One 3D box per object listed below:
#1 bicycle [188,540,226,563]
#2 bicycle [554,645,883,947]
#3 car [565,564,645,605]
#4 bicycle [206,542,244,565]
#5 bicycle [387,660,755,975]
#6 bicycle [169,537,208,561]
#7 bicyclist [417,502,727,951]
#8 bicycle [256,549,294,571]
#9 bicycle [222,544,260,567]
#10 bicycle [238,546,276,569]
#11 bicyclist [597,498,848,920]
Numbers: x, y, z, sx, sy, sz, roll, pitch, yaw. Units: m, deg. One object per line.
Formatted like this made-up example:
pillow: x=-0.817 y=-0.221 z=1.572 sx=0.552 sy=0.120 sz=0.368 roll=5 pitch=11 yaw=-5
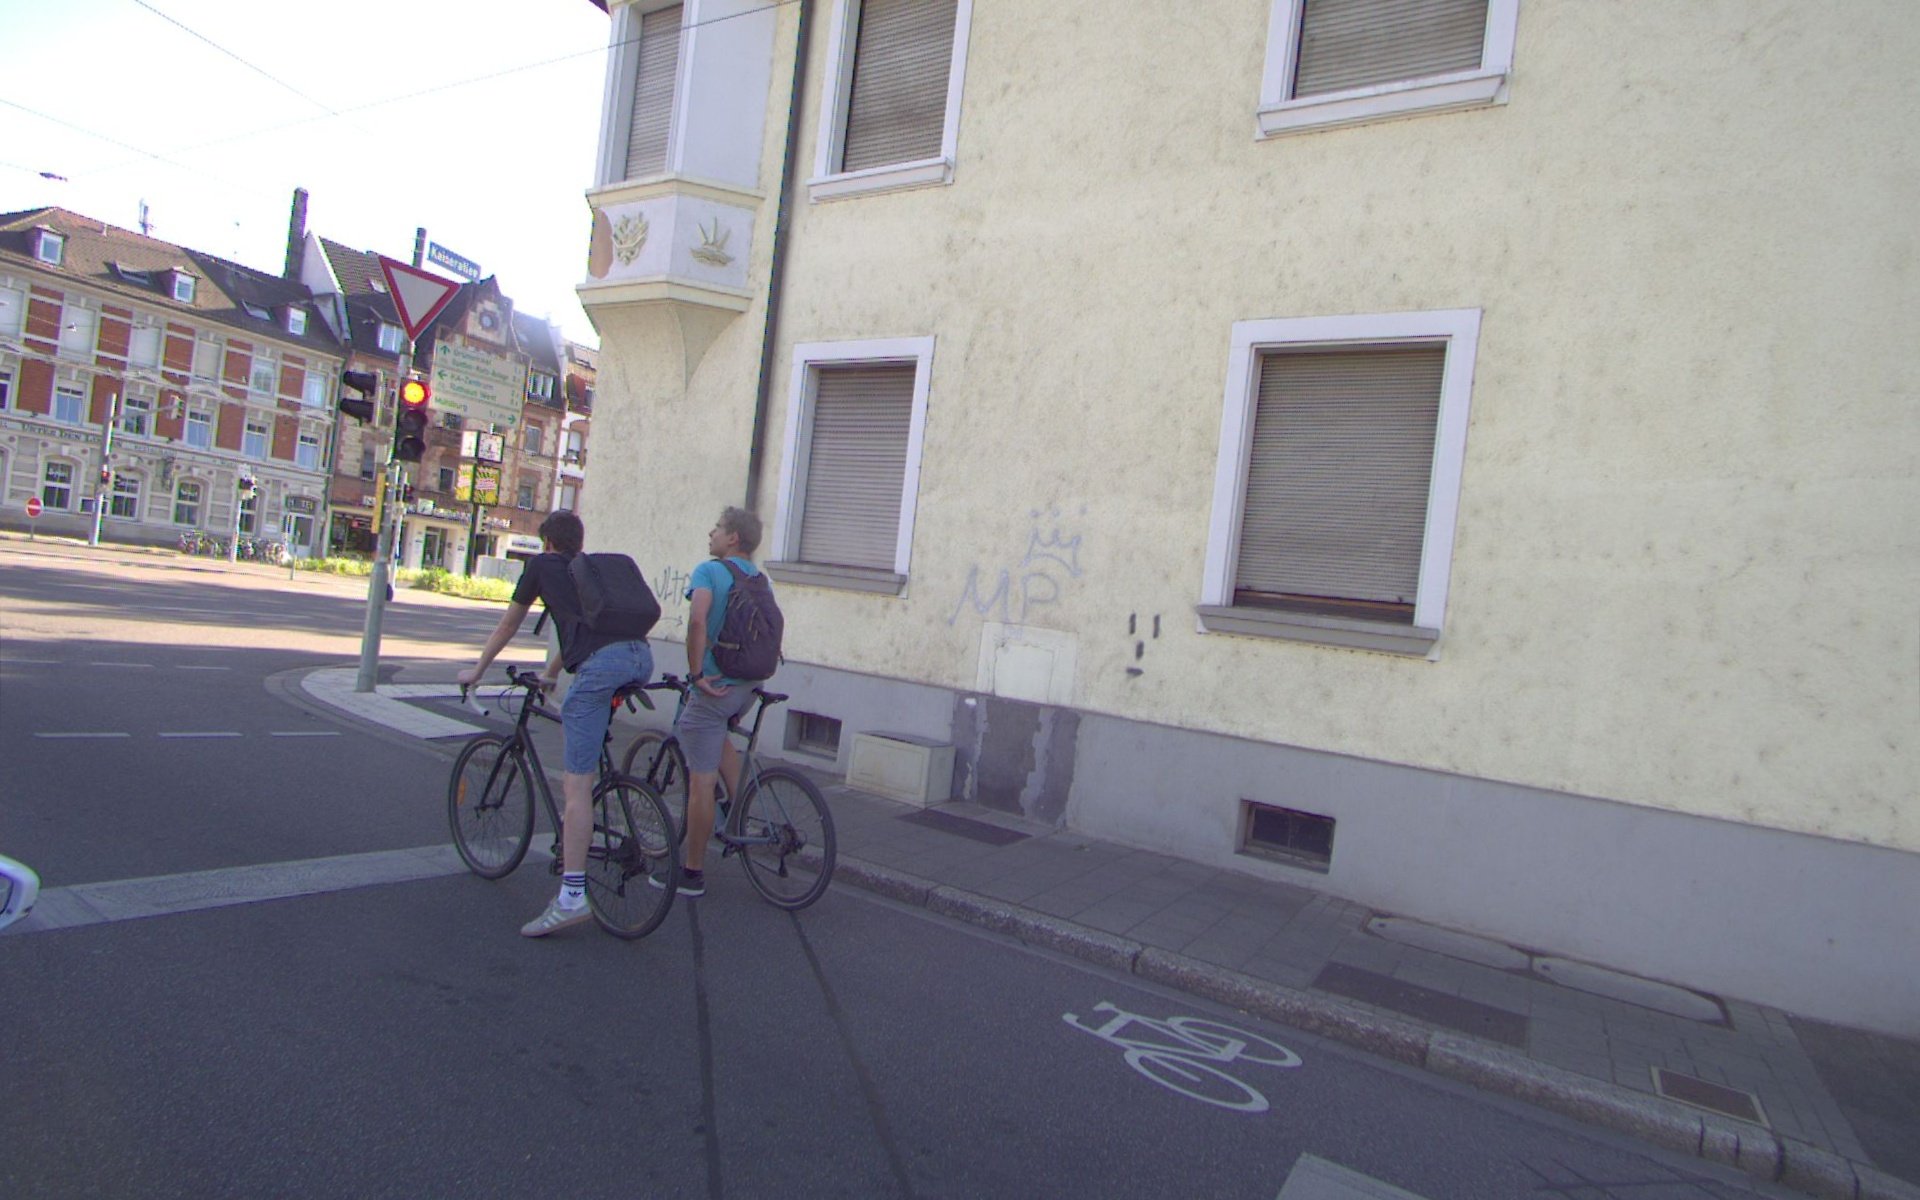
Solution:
bicycle: x=-34.552 y=-2.229 z=46.144 sx=2.125 sy=0.850 sz=0.659 roll=6 pitch=-2 yaw=33
bicycle: x=-1.317 y=0.936 z=5.277 sx=1.767 sy=1.104 sz=0.518 roll=9 pitch=1 yaw=35
car: x=-23.013 y=-0.995 z=65.324 sx=1.968 sy=2.038 sz=4.430 roll=7 pitch=-1 yaw=34
bicycle: x=-34.179 y=-2.155 z=46.765 sx=2.125 sy=0.850 sz=0.659 roll=6 pitch=-2 yaw=33
bicycle: x=-1.787 y=0.878 z=4.509 sx=1.721 sy=0.982 sz=0.519 roll=7 pitch=0 yaw=32
bicycle: x=-34.869 y=-2.297 z=45.477 sx=2.125 sy=0.850 sz=0.659 roll=6 pitch=-2 yaw=33
bicyclist: x=-1.739 y=0.494 z=4.488 sx=1.098 sy=1.722 sz=0.573 roll=7 pitch=0 yaw=32
bicycle: x=-33.102 y=-1.939 z=48.597 sx=2.125 sy=0.850 sz=0.659 roll=6 pitch=-2 yaw=33
bicycle: x=-33.845 y=-2.087 z=47.362 sx=2.125 sy=0.850 sz=0.659 roll=6 pitch=-2 yaw=33
bicycle: x=-33.489 y=-2.019 z=47.892 sx=2.125 sy=0.850 sz=0.659 roll=6 pitch=-2 yaw=33
bicyclist: x=-1.254 y=0.521 z=5.267 sx=0.930 sy=1.958 sz=0.518 roll=10 pitch=2 yaw=35
